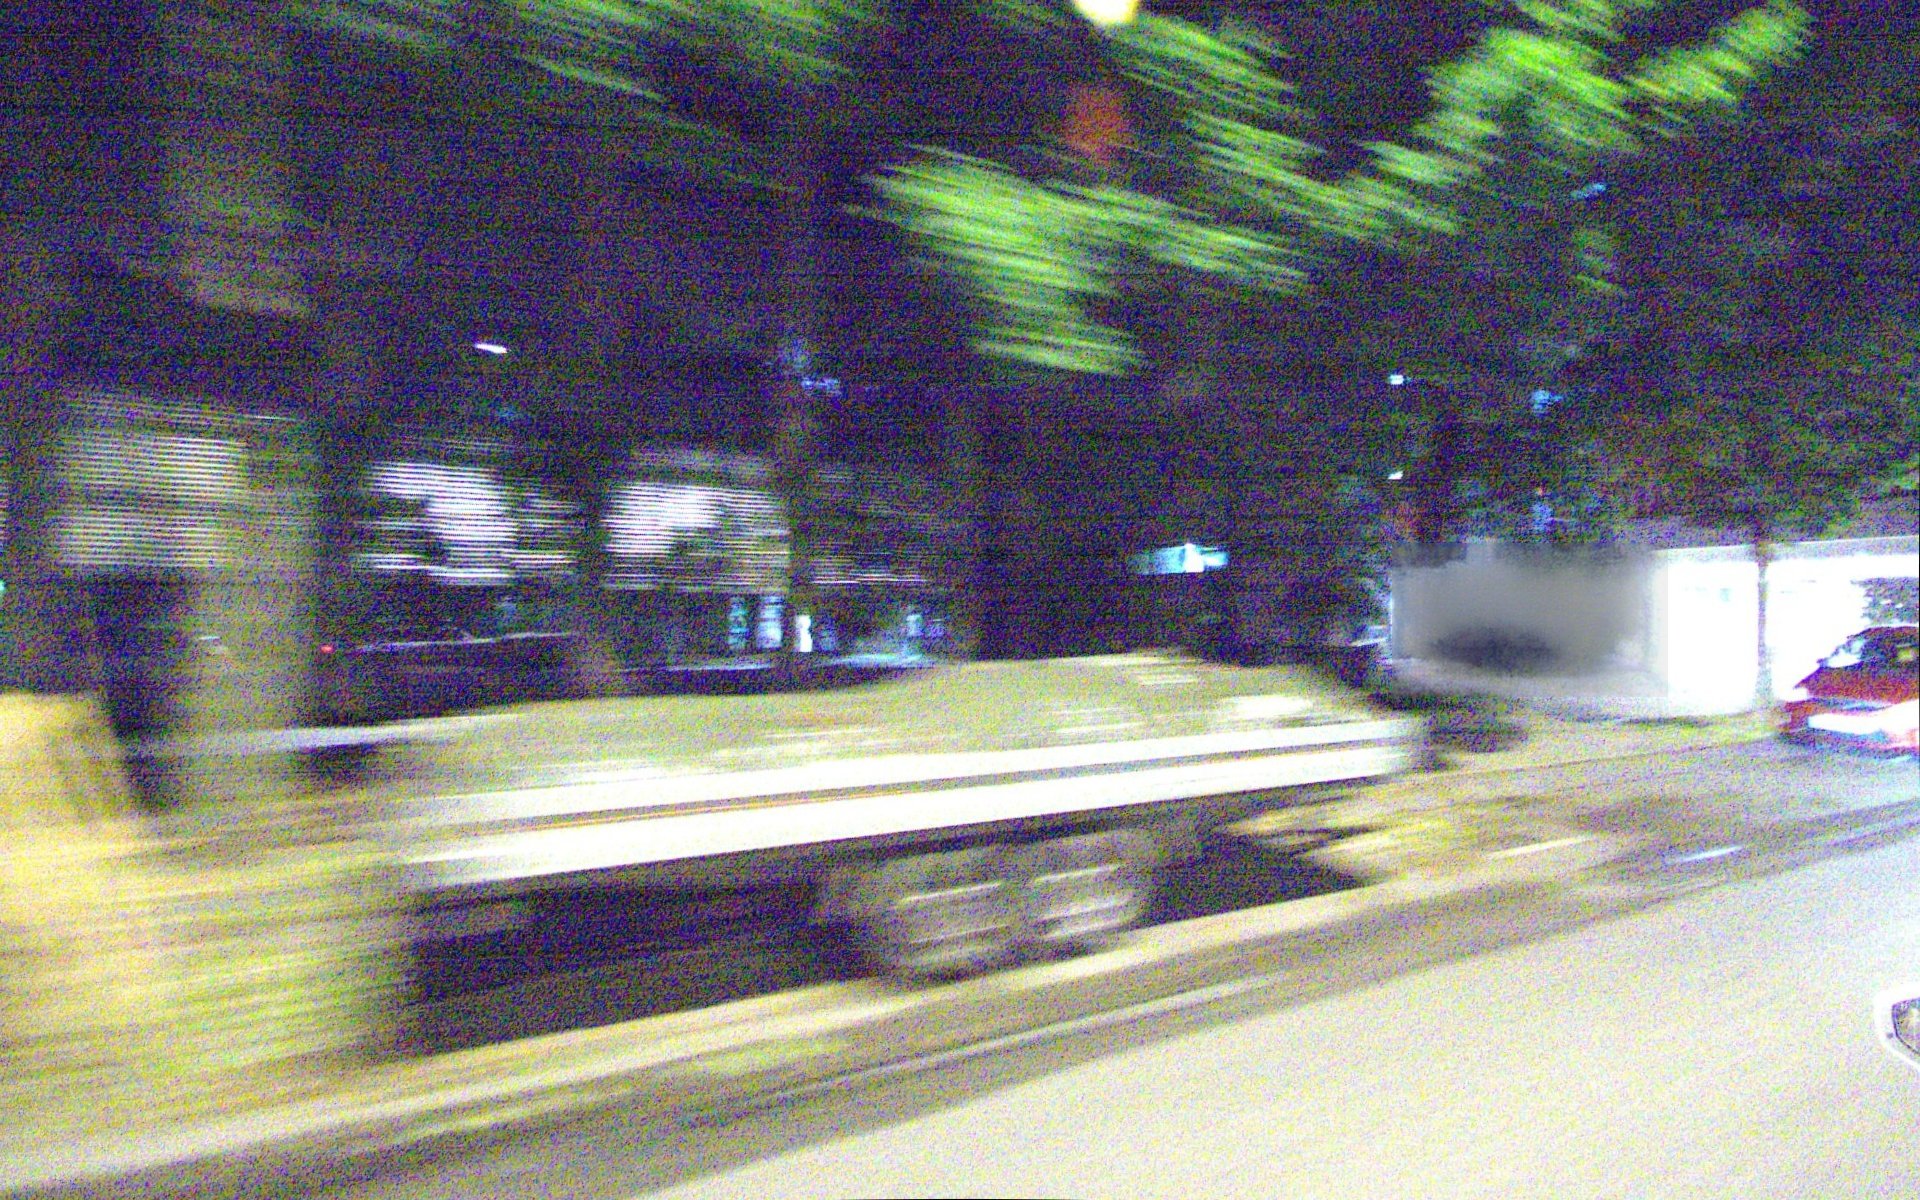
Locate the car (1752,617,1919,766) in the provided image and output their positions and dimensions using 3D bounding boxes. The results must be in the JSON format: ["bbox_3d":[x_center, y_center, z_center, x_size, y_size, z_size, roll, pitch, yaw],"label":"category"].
[{"bbox_3d":[12.439,1.095,13.135,4.023,1.620,1.814,1,2,-29],"label":"car"}]

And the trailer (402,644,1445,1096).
[{"bbox_3d":[0.013,0.993,5.559,5.369,1.352,2.101,1,1,-29],"label":"trailer"}]
